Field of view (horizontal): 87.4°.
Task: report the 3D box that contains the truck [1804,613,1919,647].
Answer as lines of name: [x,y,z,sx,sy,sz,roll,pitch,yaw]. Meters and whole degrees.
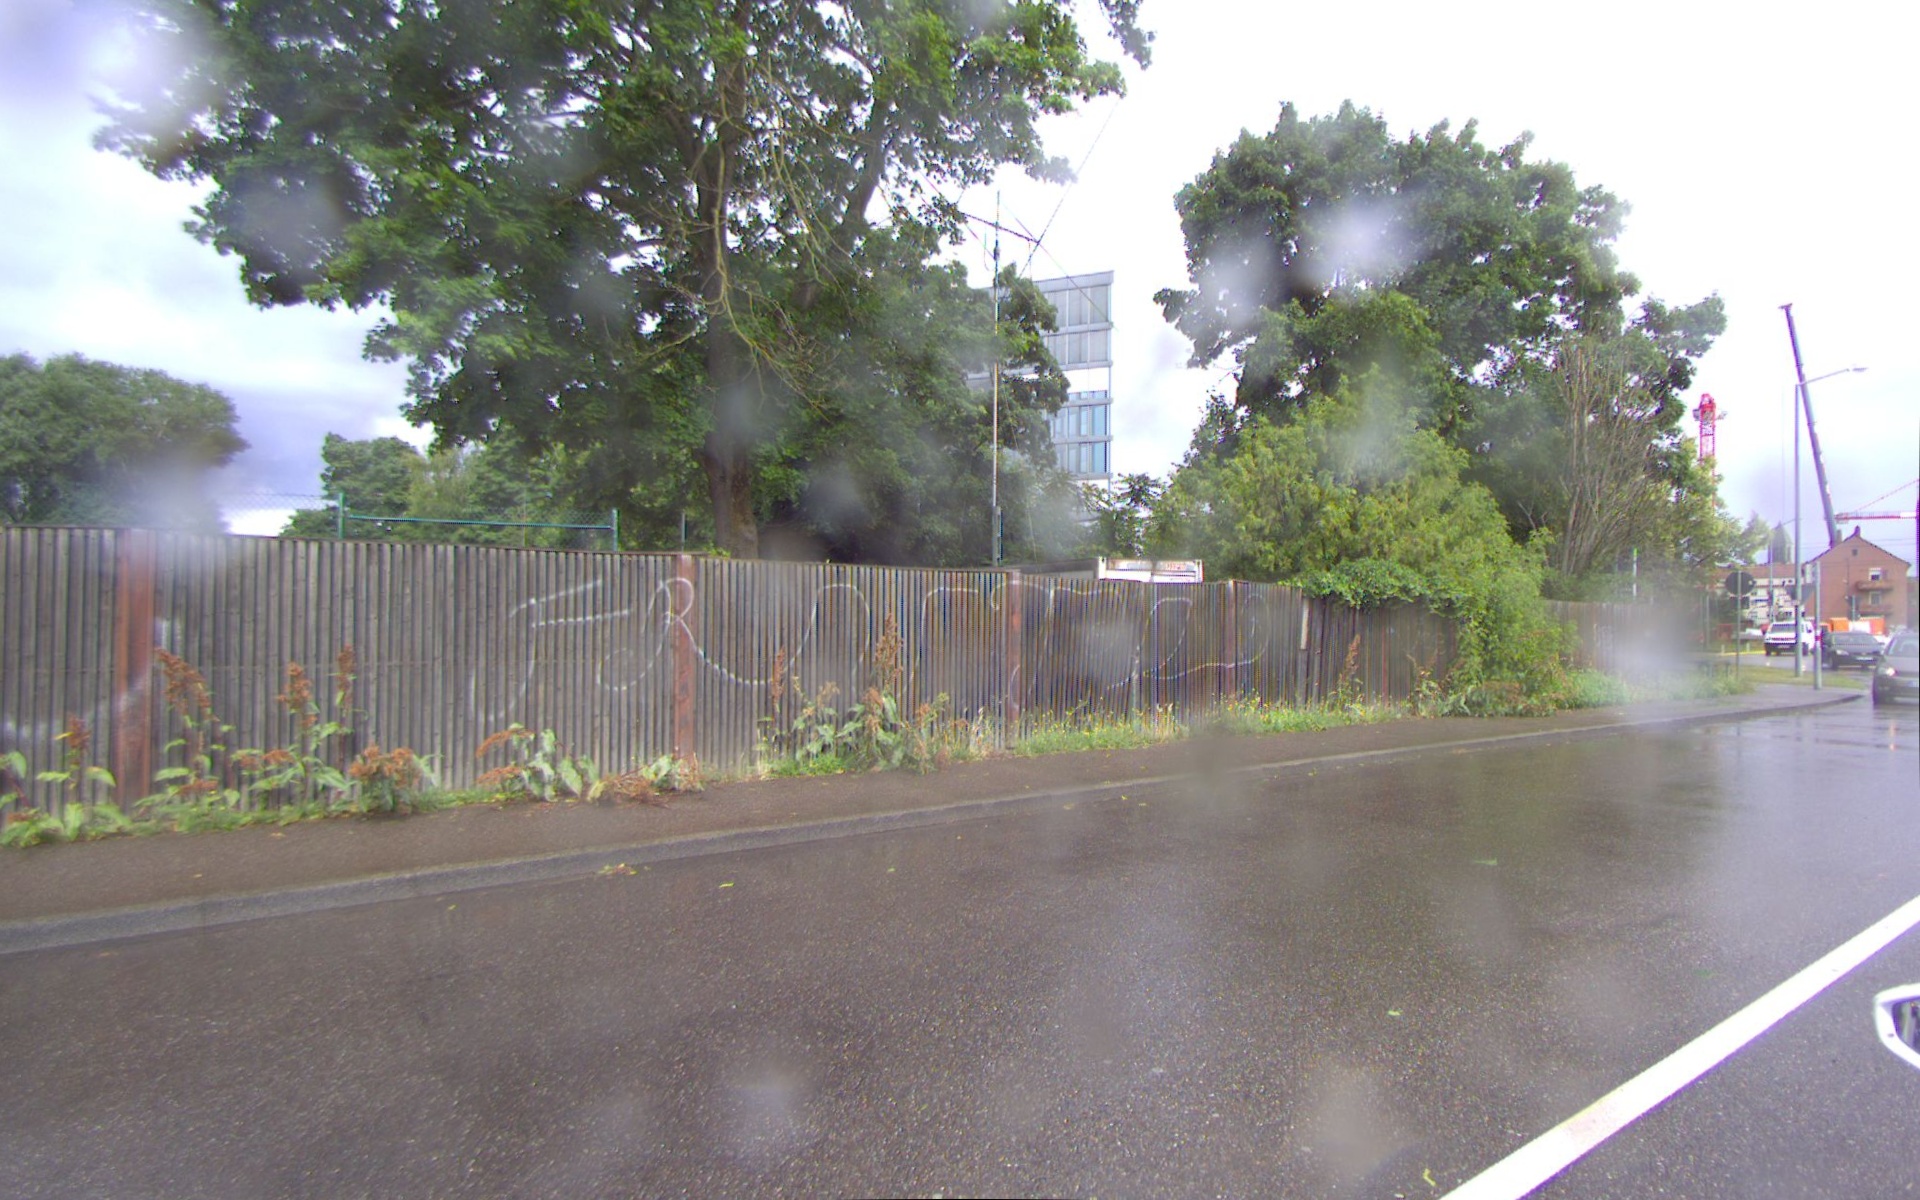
truck: [67.719,2.240,75.261,6.611,2.475,2.427,-1,-1,34]

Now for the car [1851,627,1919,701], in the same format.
car: [21.738,1.430,22.960,1.760,1.572,4.407,-4,-4,39]

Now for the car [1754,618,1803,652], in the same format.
car: [47.140,1.986,57.822,1.868,1.901,5.103,-1,-2,43]

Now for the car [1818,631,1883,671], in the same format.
car: [36.197,2.066,40.921,1.852,1.502,4.158,-1,-2,40]
